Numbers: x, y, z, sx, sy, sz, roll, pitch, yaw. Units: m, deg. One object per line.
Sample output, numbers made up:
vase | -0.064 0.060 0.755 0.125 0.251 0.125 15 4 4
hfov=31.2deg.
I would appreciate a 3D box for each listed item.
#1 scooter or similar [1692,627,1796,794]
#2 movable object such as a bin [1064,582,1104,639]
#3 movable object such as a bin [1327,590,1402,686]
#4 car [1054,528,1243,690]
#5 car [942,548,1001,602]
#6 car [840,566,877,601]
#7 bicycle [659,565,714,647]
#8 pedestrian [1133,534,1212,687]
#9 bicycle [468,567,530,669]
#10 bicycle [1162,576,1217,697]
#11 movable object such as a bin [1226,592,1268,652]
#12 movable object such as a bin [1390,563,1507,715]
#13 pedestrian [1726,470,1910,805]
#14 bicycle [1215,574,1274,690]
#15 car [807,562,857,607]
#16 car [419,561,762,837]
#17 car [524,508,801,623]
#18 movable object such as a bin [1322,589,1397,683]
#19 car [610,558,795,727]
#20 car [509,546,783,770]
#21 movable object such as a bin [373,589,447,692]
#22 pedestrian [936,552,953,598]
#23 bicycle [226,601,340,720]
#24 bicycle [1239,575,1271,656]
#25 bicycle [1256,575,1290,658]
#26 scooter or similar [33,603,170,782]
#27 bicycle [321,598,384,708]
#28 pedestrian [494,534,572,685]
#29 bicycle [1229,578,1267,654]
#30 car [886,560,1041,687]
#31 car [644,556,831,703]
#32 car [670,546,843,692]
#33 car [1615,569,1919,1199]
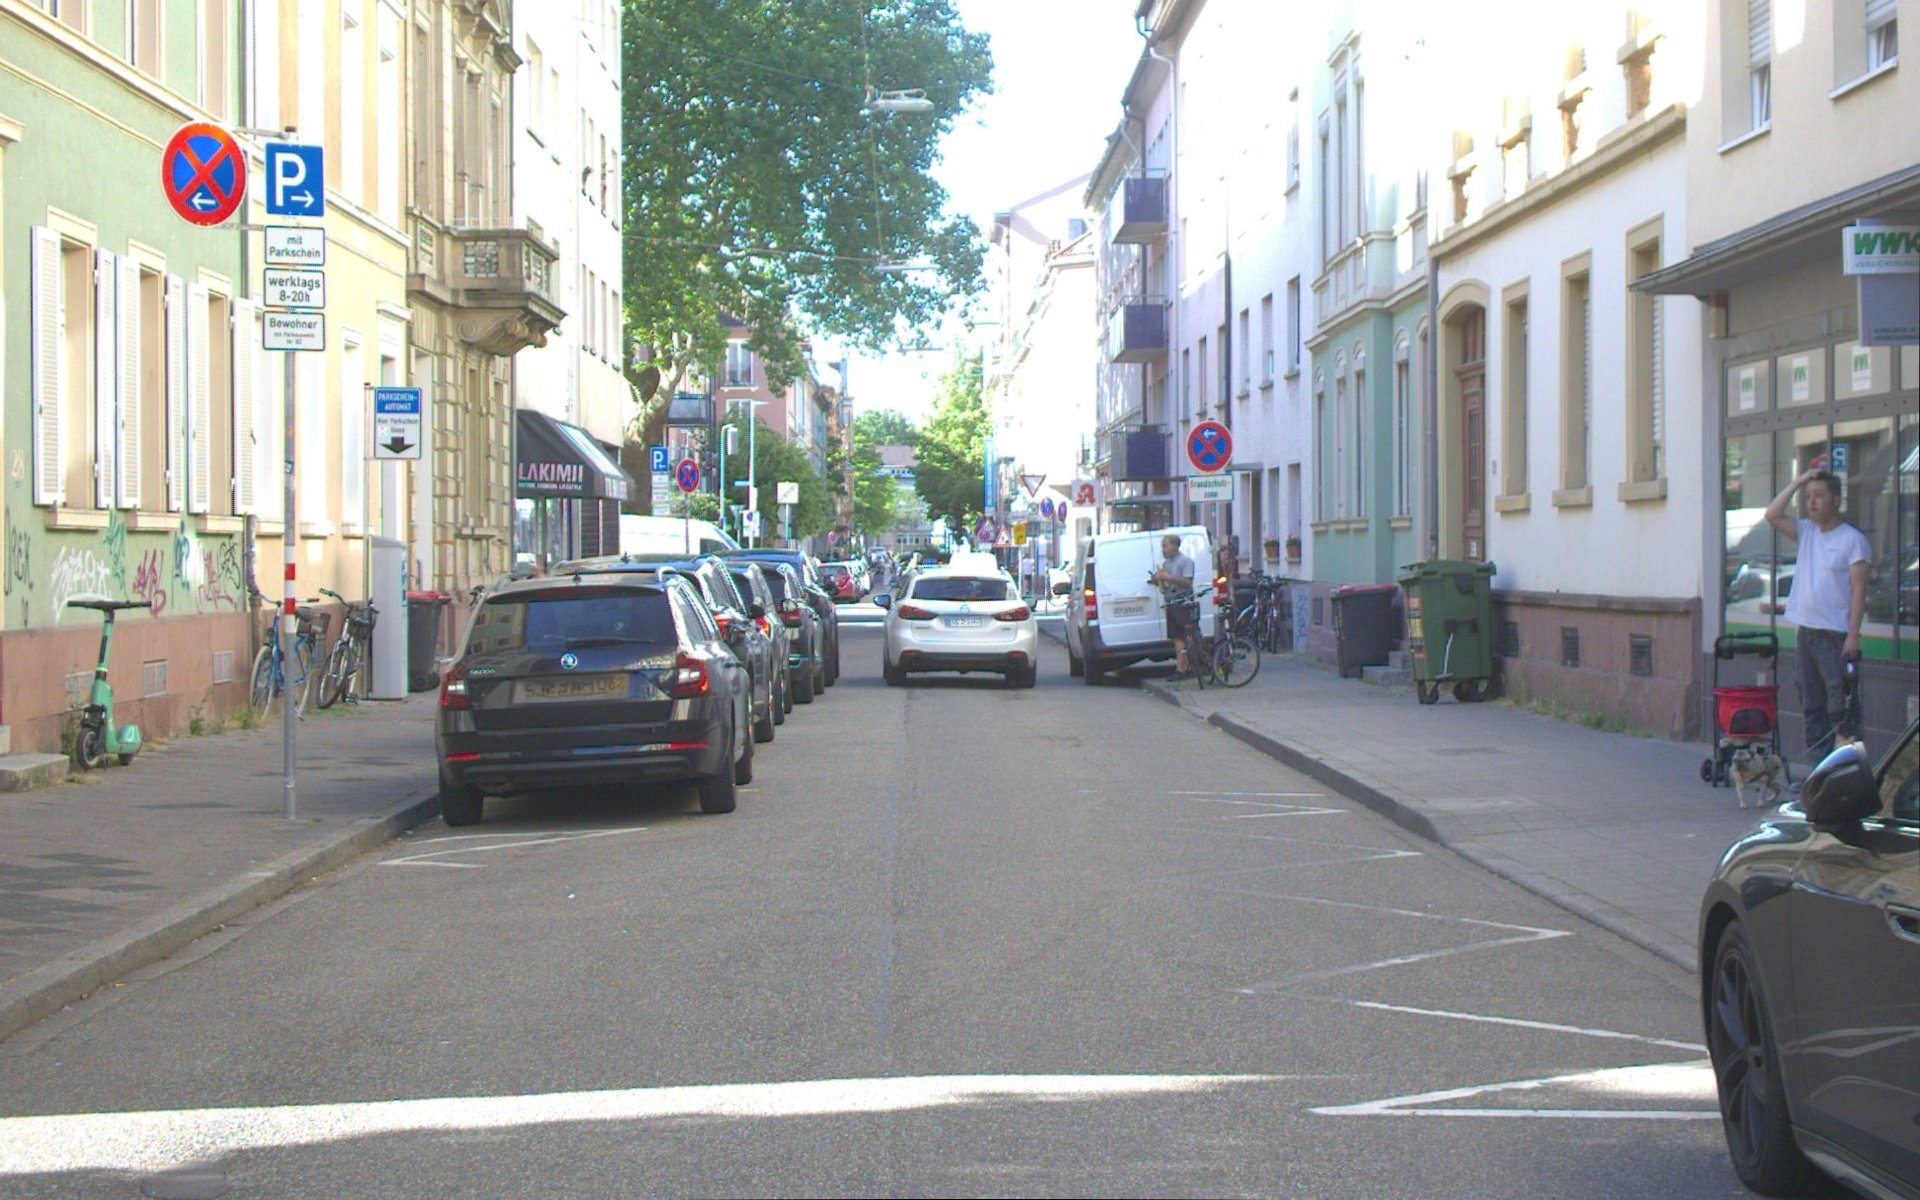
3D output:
scooter or similar | 4.684 0.654 20.571 0.490 0.941 0.868 -1 1 6
movable object such as a bin | 2.339 0.204 65.081 0.732 1.077 0.703 0 0 0
movable object such as a bin | 4.628 0.436 39.356 0.797 1.092 0.642 0 0 2
car | 2.397 0.070 45.131 1.983 1.877 5.600 -3 1 -1
car | 0.419 -0.946 127.843 1.942 1.941 4.079 1 0 -3
car | -4.636 -0.746 156.827 1.572 1.580 3.611 0 0 0
bicycle | -4.678 0.118 58.879 0.465 1.327 1.853 4 -1 7
pedestrian | 2.563 0.126 41.549 0.866 1.830 0.883 0 0 -2
bicycle | -5.863 0.228 43.783 0.510 1.272 1.867 0 0 1
bicycle | 2.607 0.394 39.171 0.575 1.316 2.199 -1 1 3
movable object such as a bin | 4.546 0.348 54.549 0.577 0.921 0.607 -2 0 0
movable object such as a bin | 4.645 0.378 32.761 0.837 1.385 1.297 -2 -1 -2
pedestrian | 4.888 0.202 19.603 0.648 1.853 0.749 -2 1 -22
bicycle | 3.255 0.346 39.496 0.575 1.267 2.199 -2 0 3
car | -4.616 -0.576 124.605 1.769 1.583 3.726 0 1 -1
car | -2.226 0.539 21.842 1.713 1.483 4.852 -2 1 -1
car | -7.553 -0.869 87.829 6.739 2.546 2.145 3 0 1
movable object such as a bin | 4.643 0.418 40.027 0.812 1.084 0.673 0 0 2
car | -2.458 0.366 33.496 1.615 1.548 3.978 0 1 -2
car | -2.436 0.394 27.700 1.744 1.609 4.603 -1 1 0
movable object such as a bin | -5.944 0.433 37.166 0.735 1.085 0.683 0 2 -4
pedestrian | -0.713 -1.130 157.830 0.771 2.111 0.834 0 0 0
bicycle | -5.989 0.522 30.487 0.361 1.025 1.916 0 0 9
bicycle | 4.486 0.237 52.191 0.438 1.202 2.265 0 0 6
bicycle | 4.624 0.236 50.856 0.405 1.202 2.159 0 0 3
scooter or similar | -5.850 0.613 23.494 0.454 1.177 1.691 0 0 2
bicycle | -5.971 0.508 33.837 0.402 1.052 1.837 0 0 -4
pedestrian | -4.914 0.102 39.616 0.764 1.708 0.883 1 1 -1
bicycle | 4.461 0.247 53.280 0.568 1.149 1.868 0 0 4
car | -0.002 0.261 42.655 1.823 1.509 3.824 0 1 -1
car | -2.416 0.291 38.263 1.713 1.526 4.367 -1 1 1
car | -2.524 0.207 43.781 1.936 1.730 5.142 -1 1 -1
car | 2.692 0.741 6.731 1.801 1.573 4.897 1 1 -1
